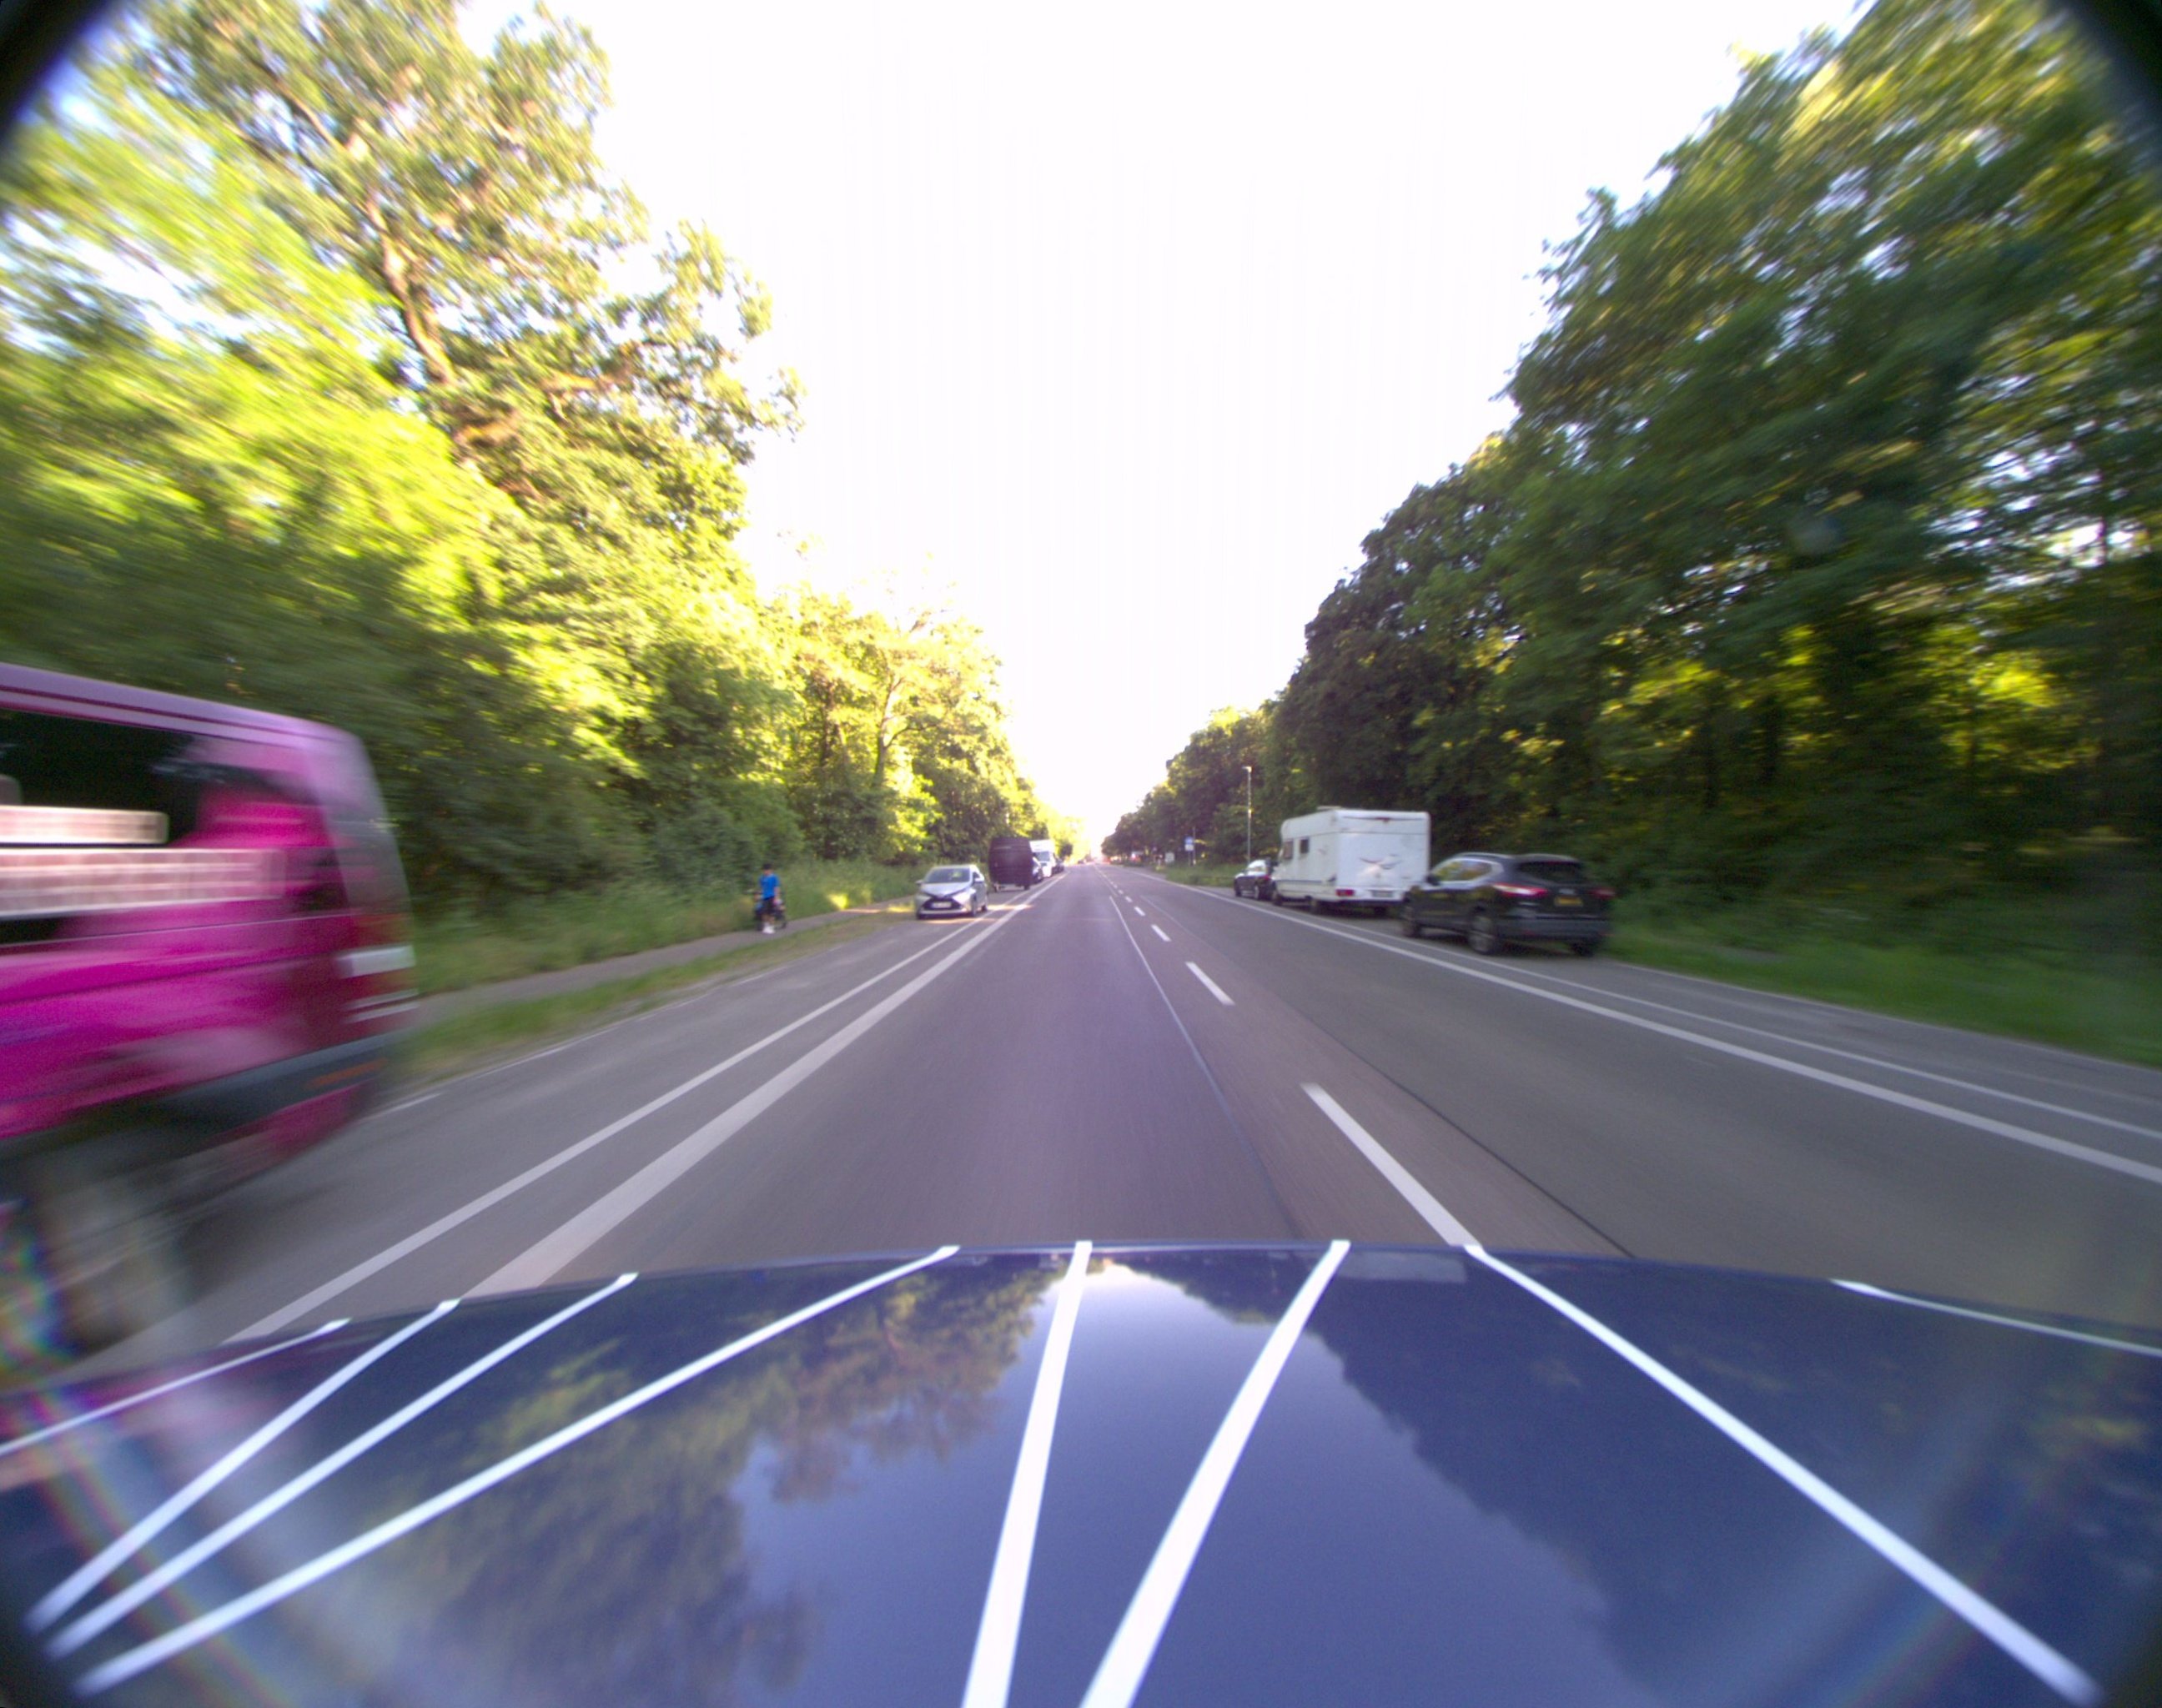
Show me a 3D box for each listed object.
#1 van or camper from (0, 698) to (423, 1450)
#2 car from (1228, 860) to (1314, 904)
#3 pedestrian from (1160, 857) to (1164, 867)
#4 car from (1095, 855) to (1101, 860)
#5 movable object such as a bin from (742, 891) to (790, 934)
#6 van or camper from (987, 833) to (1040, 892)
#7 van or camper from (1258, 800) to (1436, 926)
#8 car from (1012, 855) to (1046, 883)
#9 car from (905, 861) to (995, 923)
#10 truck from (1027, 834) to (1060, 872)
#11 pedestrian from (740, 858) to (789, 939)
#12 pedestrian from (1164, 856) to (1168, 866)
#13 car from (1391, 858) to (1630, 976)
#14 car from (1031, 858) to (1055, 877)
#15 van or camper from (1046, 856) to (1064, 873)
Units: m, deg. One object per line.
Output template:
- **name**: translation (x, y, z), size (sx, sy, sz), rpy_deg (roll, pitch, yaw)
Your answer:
- **van or camper**: translation (-4.322, 0.665, 0.783), size (2.040, 2.298, 6.040), rpy_deg (0, 0, 0)
- **car**: translation (6.953, 0.963, 28.352), size (1.832, 1.467, 4.680), rpy_deg (1, 0, -2)
- **pedestrian**: translation (14.269, 1.395, 133.540), size (0.676, 1.643, 0.790), rpy_deg (-1, 0, 5)
- **car**: translation (5.681, 1.182, 251.782), size (1.830, 1.516, 3.943), rpy_deg (0, 0, -2)
- **movable object such as a bin**: translation (-8.079, 1.490, 19.542), size (0.791, 1.041, 0.987), rpy_deg (-1, 0, 1)
- **van or camper**: translation (-3.558, 0.457, 41.190), size (2.448, 2.783, 6.555), rpy_deg (-3, 0, -3)
- **van or camper**: translation (7.167, 0.231, 21.673), size (2.321, 2.952, 7.110), rpy_deg (2, 0, -2)
- **car**: translation (-3.355, 0.951, 49.812), size (1.716, 1.655, 4.552), rpy_deg (-3, 0, 2)
- **car**: translation (-3.687, 1.034, 22.080), size (1.716, 1.536, 4.023), rpy_deg (-3, 0, 2)
- **truck**: translation (-3.579, -0.061, 74.568), size (2.840, 3.477, 8.578), rpy_deg (-1, 0, 0)
- **pedestrian**: translation (-7.662, 1.045, 18.412), size (0.770, 1.907, 0.920), rpy_deg (-1, 0, 1)
- **pedestrian**: translation (14.970, 1.229, 133.488), size (0.676, 1.643, 0.790), rpy_deg (-1, 0, 5)
- **car**: translation (6.965, 0.901, 12.919), size (1.650, 1.622, 4.273), rpy_deg (1, 0, 1)
- **car**: translation (-3.260, 1.135, 65.459), size (1.716, 1.559, 4.000), rpy_deg (-3, 0, 0)
- **van or camper**: translation (-3.024, 1.236, 89.592), size (1.902, 2.002, 4.587), rpy_deg (-1, 0, 1)
